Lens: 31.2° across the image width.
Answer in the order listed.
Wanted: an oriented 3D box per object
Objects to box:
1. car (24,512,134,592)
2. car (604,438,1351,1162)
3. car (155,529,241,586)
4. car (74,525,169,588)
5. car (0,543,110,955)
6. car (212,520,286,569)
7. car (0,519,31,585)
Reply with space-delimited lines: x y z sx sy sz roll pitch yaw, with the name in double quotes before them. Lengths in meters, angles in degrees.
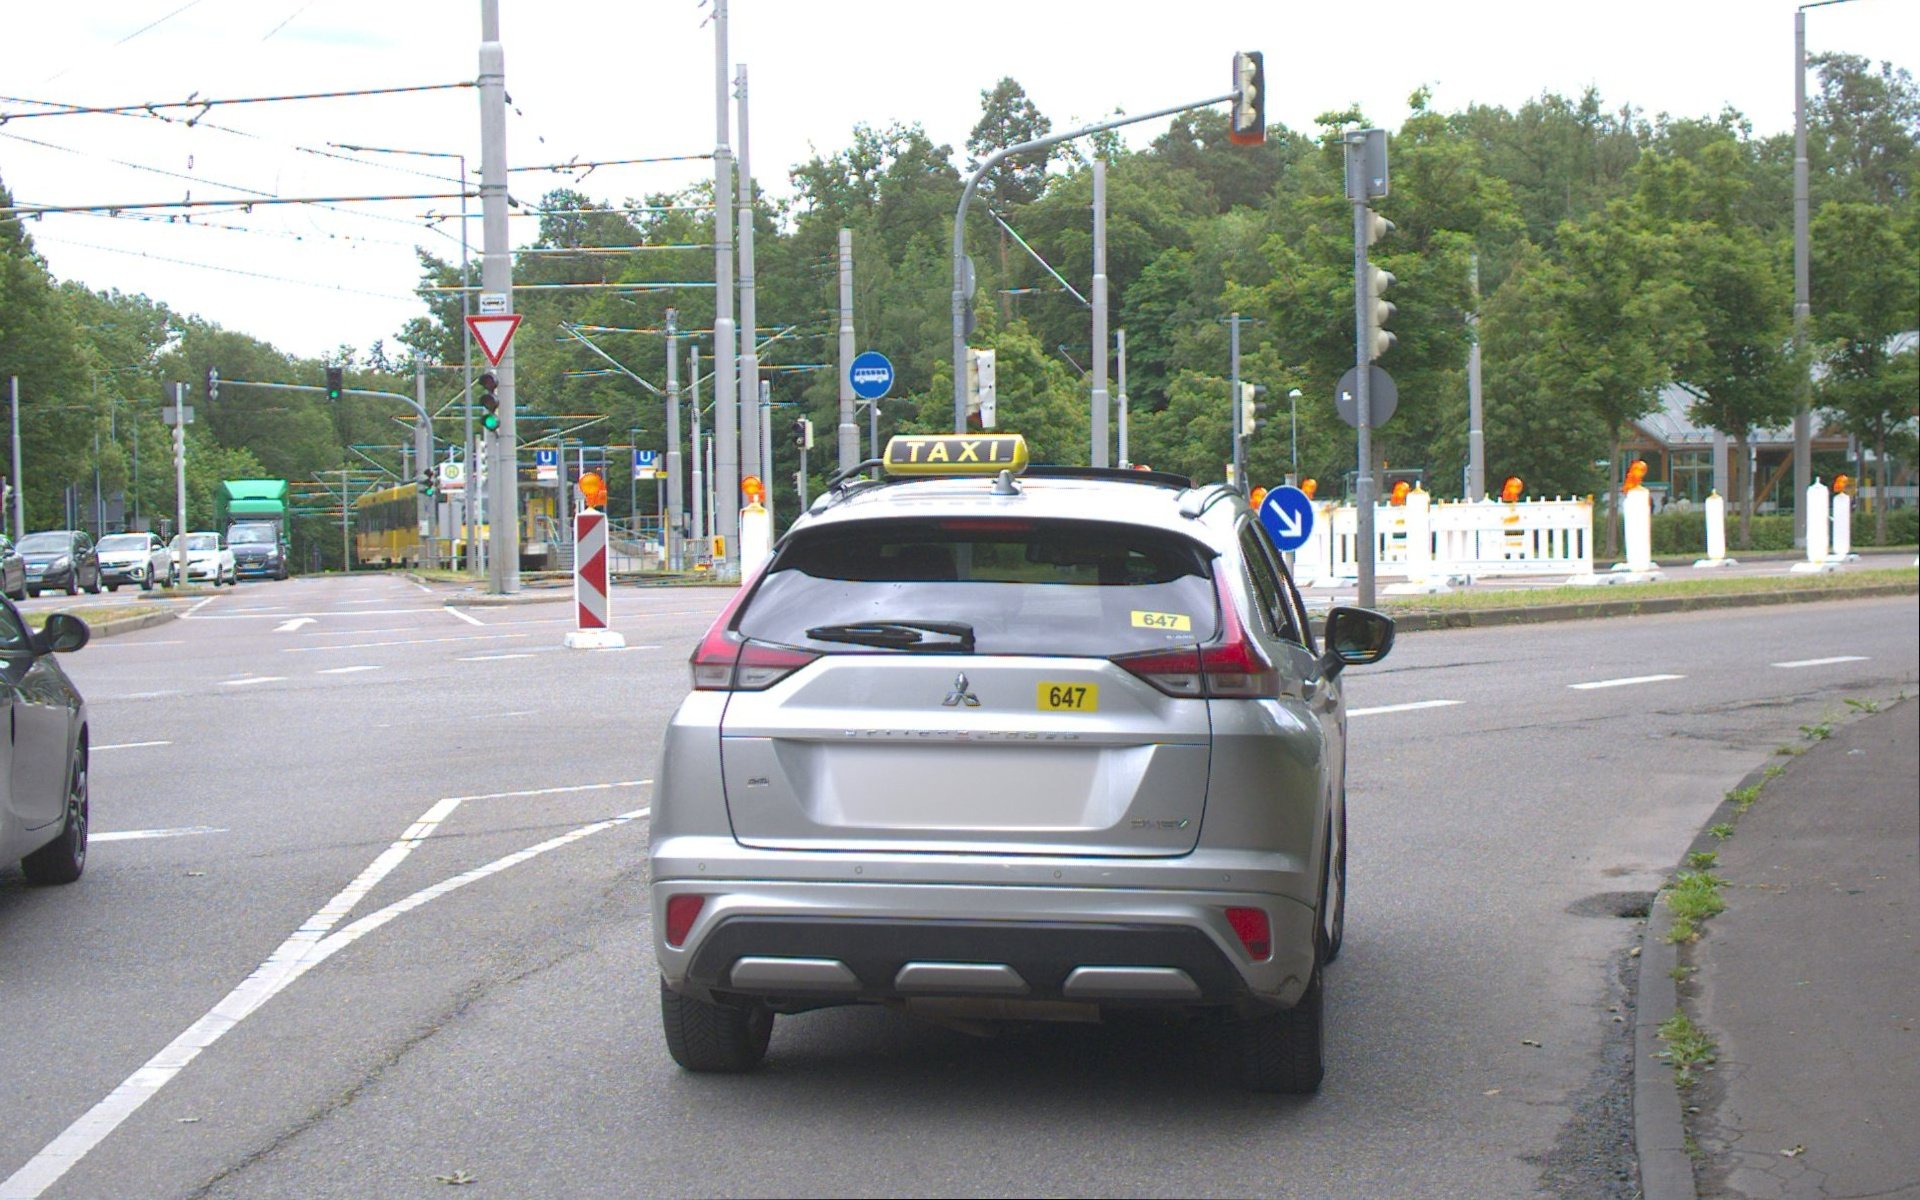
"car" -21.288 -1.180 83.216 1.961 1.838 4.691 -1 2 -7
"car" 0.242 0.438 10.280 1.774 1.742 3.780 1 1 7
"car" -21.783 -1.245 98.382 1.961 1.536 4.397 -1 2 -7
"car" -22.439 -1.186 92.124 1.961 1.601 4.311 -1 2 -7
"car" -4.193 0.508 12.267 1.773 1.357 3.477 -2 1 -7
"car" -23.105 -1.826 111.848 1.961 1.535 4.311 -1 2 -7
"car" -21.004 -1.013 72.693 1.961 1.357 4.691 -1 2 -7
